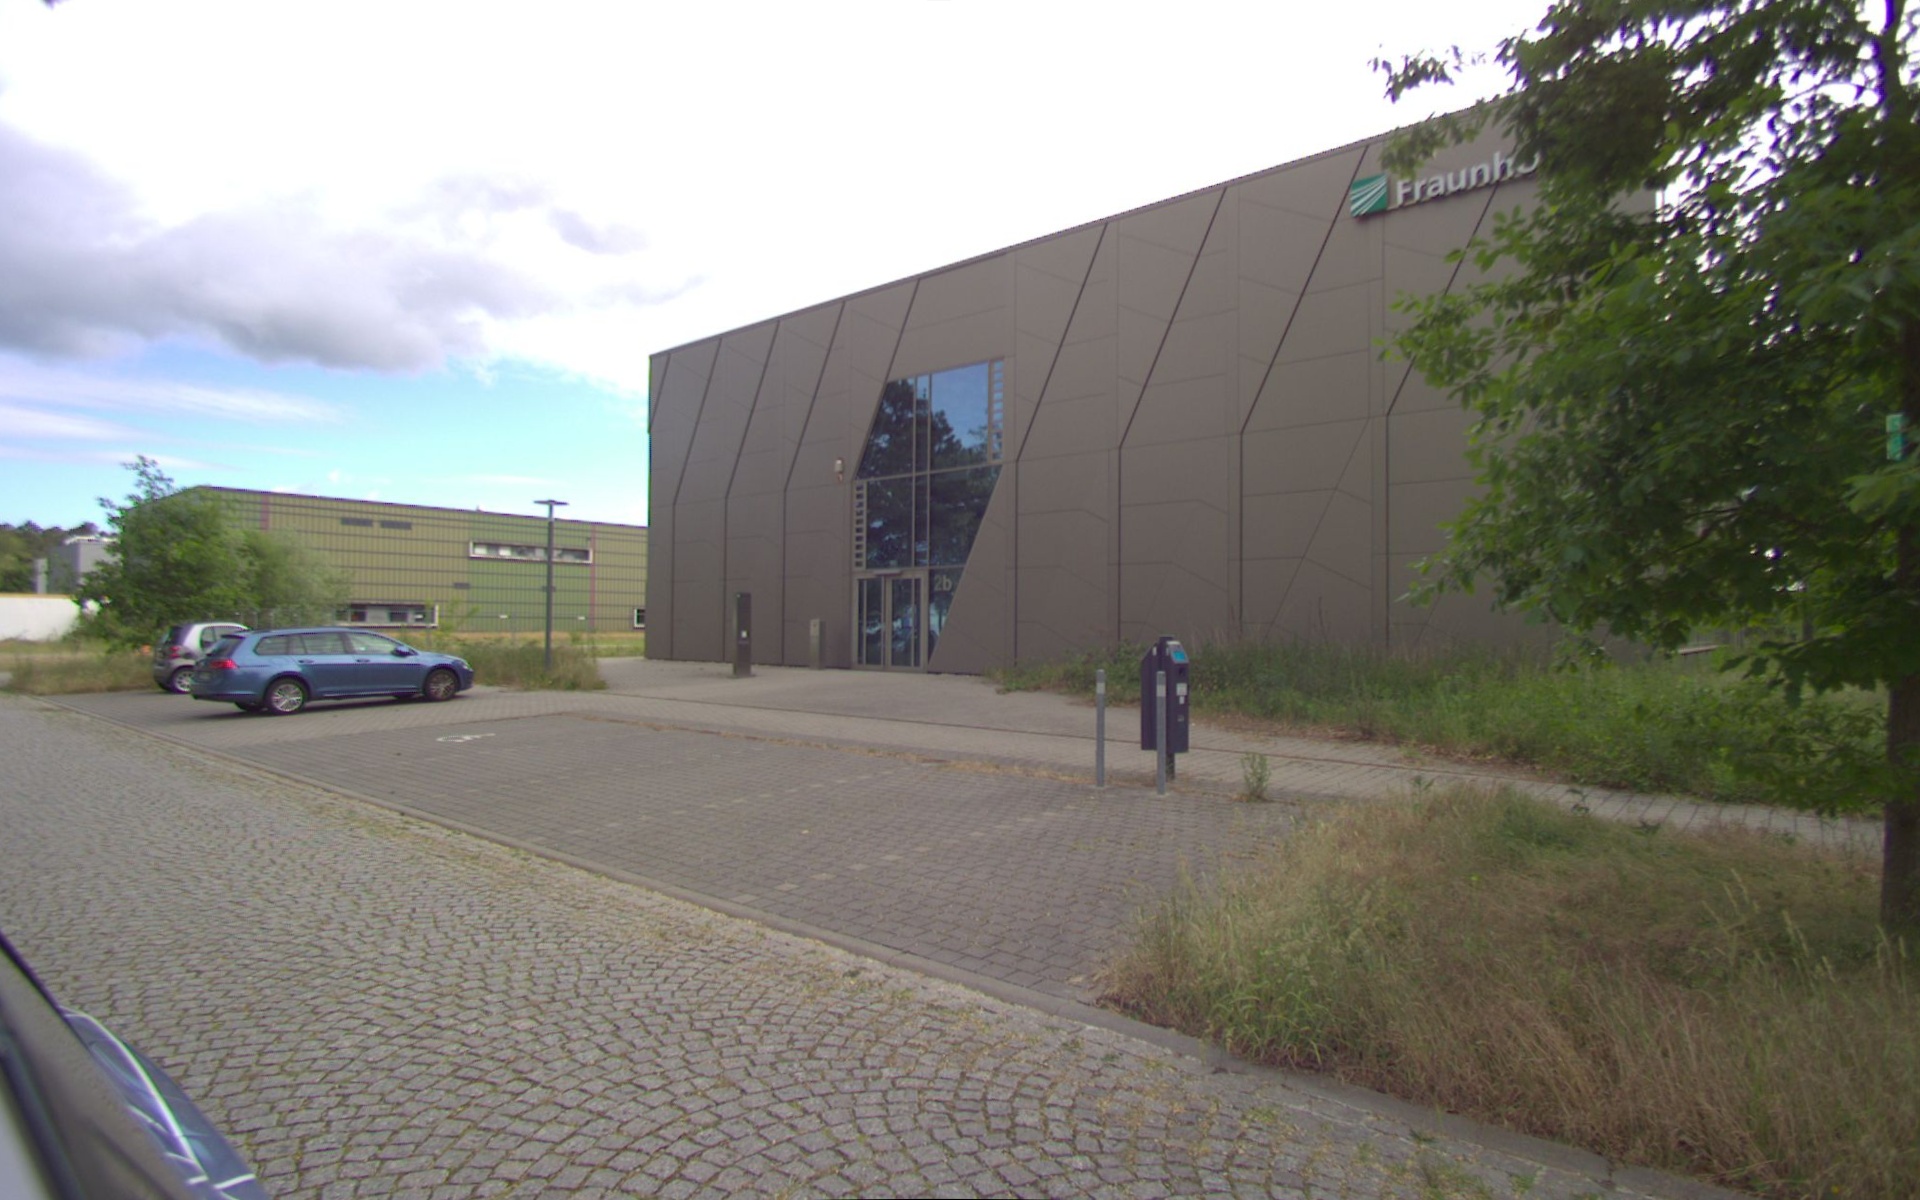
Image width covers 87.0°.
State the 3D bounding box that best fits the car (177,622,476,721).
[{"bbox_3d":[-11.425,1.199,18.542,1.631,1.481,4.373,-1,0,38],"label":"car"}]

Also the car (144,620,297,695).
[{"bbox_3d":[-17.010,1.268,23.343,1.498,1.541,2.553,-1,0,38],"label":"car"}]
